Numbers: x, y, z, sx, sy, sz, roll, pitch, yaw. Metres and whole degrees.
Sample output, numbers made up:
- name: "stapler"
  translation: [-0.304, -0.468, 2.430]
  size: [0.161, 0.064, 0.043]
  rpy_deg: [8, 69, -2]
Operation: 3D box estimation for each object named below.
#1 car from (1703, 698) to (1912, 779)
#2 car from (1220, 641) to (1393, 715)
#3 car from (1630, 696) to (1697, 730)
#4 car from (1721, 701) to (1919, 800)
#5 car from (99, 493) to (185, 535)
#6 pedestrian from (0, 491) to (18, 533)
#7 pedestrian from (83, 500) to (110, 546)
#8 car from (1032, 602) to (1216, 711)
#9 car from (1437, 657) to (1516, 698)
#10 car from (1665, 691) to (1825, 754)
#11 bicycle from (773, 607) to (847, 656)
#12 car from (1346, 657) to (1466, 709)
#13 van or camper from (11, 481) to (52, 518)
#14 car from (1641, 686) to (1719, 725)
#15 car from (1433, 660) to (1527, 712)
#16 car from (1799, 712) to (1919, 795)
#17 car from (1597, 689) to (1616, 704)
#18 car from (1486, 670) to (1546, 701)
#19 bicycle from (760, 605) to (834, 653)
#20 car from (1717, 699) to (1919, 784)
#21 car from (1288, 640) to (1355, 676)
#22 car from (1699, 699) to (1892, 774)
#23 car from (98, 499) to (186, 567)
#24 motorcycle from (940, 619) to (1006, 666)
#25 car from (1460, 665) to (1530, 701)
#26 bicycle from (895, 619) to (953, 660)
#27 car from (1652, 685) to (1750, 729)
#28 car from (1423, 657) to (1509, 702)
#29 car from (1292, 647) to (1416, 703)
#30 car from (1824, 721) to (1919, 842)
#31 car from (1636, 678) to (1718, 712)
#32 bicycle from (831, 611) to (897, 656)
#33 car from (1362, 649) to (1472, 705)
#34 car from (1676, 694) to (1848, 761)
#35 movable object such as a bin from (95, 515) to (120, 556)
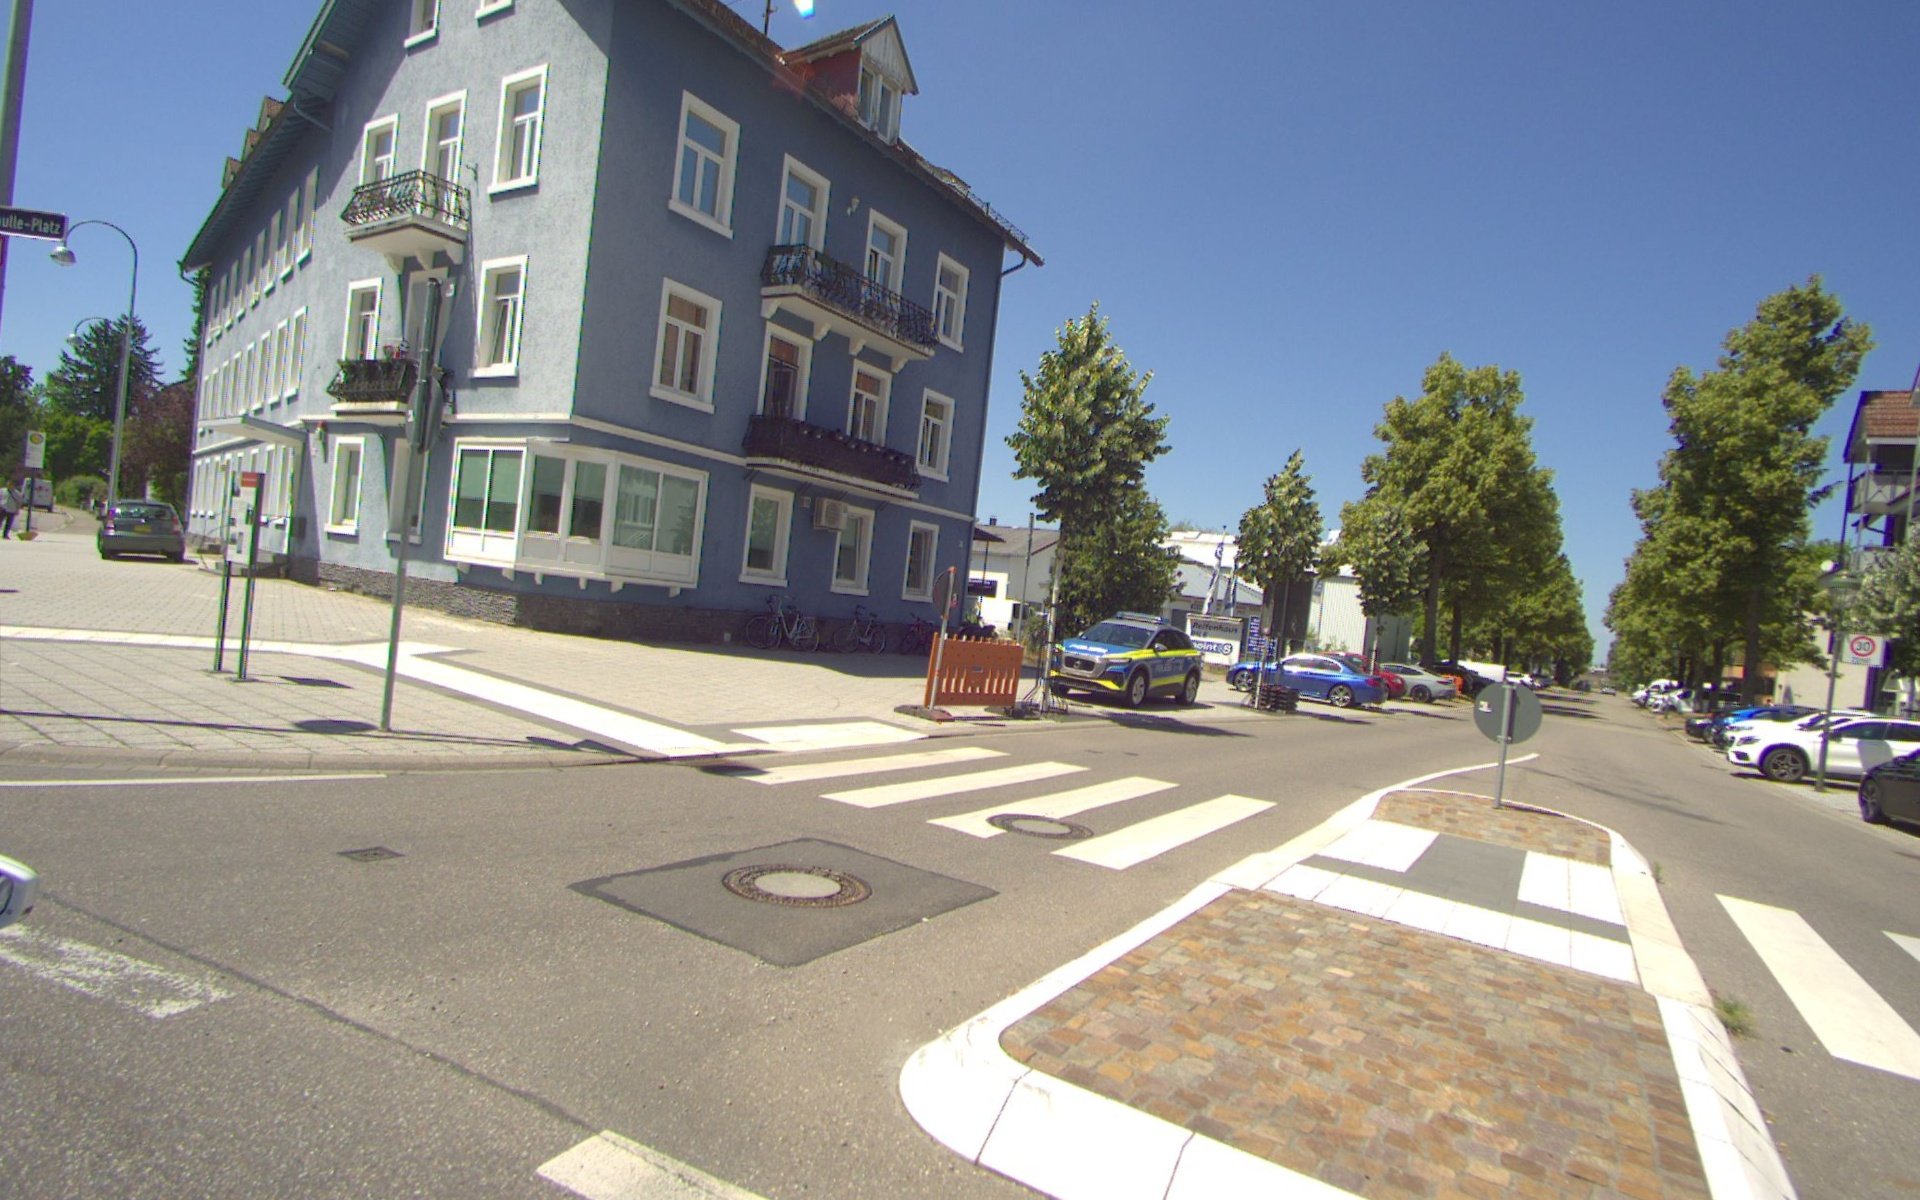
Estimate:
- name: "car"
  translation: [23.781, 3.835, 28.460]
  size: [4.229, 1.595, 1.901]
  rpy_deg: [5, -1, 35]
- name: "car"
  translation: [10.169, 2.283, 29.627]
  size: [4.395, 1.496, 1.905]
  rpy_deg: [7, -3, 31]
- name: "car"
  translation: [55.703, 8.927, 79.715]
  size: [3.931, 2.038, 1.997]
  rpy_deg: [7, 0, 29]
- name: "car"
  translation: [18.425, 3.109, 20.675]
  size: [4.229, 1.542, 1.901]
  rpy_deg: [5, -1, 35]
- name: "car"
  translation: [-53.012, -5.574, 65.216]
  size: [1.973, 2.038, 3.981]
  rpy_deg: [7, -1, 42]
- name: "pedestrian"
  translation: [-30.432, -2.805, 31.942]
  size: [0.661, 1.304, 0.581]
  rpy_deg: [2, 4, -34]
- name: "pedestrian"
  translation: [-31.386, -2.787, 36.564]
  size: [0.661, 1.616, 0.581]
  rpy_deg: [2, 4, -34]
- name: "car"
  translation: [3.438, 1.199, 20.444]
  size: [1.876, 1.764, 4.238]
  rpy_deg: [8, 0, 35]
- name: "car"
  translation: [31.330, 4.668, 61.060]
  size: [3.936, 1.885, 1.992]
  rpy_deg: [7, 2, 34]
- name: "car"
  translation: [28.002, 4.332, 36.081]
  size: [4.226, 1.661, 1.902]
  rpy_deg: [5, -1, 33]
- name: "bicycle"
  translation: [-3.253, 0.704, 21.924]
  size: [0.433, 0.918, 1.708]
  rpy_deg: [9, 1, 35]
- name: "car"
  translation: [17.610, 3.269, 39.727]
  size: [3.936, 1.464, 1.995]
  rpy_deg: [7, 0, 34]
- name: "van or camper"
  translation: [-76.313, -8.278, 82.705]
  size: [2.199, 2.642, 3.951]
  rpy_deg: [7, 0, -43]
- name: "car"
  translation: [48.854, 7.148, 68.362]
  size: [3.931, 2.038, 1.997]
  rpy_deg: [7, 0, 29]
- name: "car"
  translation: [26.370, 4.347, 51.044]
  size: [3.933, 2.037, 1.997]
  rpy_deg: [6, -2, 31]
- name: "car"
  translation: [20.790, 3.408, 21.409]
  size: [4.229, 1.453, 1.901]
  rpy_deg: [5, -1, 35]
- name: "car"
  translation: [96.182, 14.341, 149.693]
  size: [1.967, 2.038, 3.992]
  rpy_deg: [7, 0, 31]
- name: "car"
  translation: [45.474, 6.967, 82.282]
  size: [3.936, 1.885, 1.992]
  rpy_deg: [7, 2, 34]
- name: "bicycle"
  translation: [-3.583, 0.653, 22.238]
  size: [0.433, 0.918, 1.708]
  rpy_deg: [9, 1, 35]
- name: "car"
  translation: [22.528, 3.628, 26.233]
  size: [4.229, 1.595, 1.901]
  rpy_deg: [5, -1, 35]
- name: "car"
  translation: [25.877, 4.159, 72.075]
  size: [3.937, 1.882, 1.995]
  rpy_deg: [8, -1, 36]
- name: "car"
  translation: [25.290, 4.085, 30.674]
  size: [4.229, 1.595, 1.901]
  rpy_deg: [5, -1, 35]
- name: "car"
  translation: [-21.279, -1.759, 26.126]
  size: [1.631, 1.528, 3.522]
  rpy_deg: [2, 3, -41]
- name: "motorcycle"
  translation: [0.363, 1.127, 26.292]
  size: [0.578, 1.065, 1.899]
  rpy_deg: [9, 1, 37]
- name: "car"
  translation: [36.125, 5.565, 67.930]
  size: [3.934, 1.883, 1.996]
  rpy_deg: [6, 0, 32]
- name: "bicycle"
  translation: [-0.918, 1.048, 26.127]
  size: [0.473, 0.918, 1.708]
  rpy_deg: [9, 1, 35]
- name: "car"
  translation: [47.147, 6.776, 64.157]
  size: [4.664, 2.038, 1.996]
  rpy_deg: [6, 0, 32]
- name: "car"
  translation: [28.278, 4.443, 56.254]
  size: [3.936, 1.882, 1.996]
  rpy_deg: [7, -1, 34]
- name: "car"
  translation: [14.980, 2.850, 38.324]
  size: [3.936, 1.548, 1.995]
  rpy_deg: [7, 0, 34]
- name: "car"
  translation: [13.818, 2.583, 13.448]
  size: [1.870, 1.453, 4.173]
  rpy_deg: [5, -1, 18]
- name: "car"
  translation: [59.840, 7.916, 84.093]
  size: [5.187, 2.038, 2.232]
  rpy_deg: [6, 0, 32]
- name: "bicycle"
  translation: [-2.290, 0.811, 24.083]
  size: [0.473, 0.918, 1.708]
  rpy_deg: [9, 1, 35]
- name: "car"
  translation: [20.303, 3.411, 44.736]
  size: [3.939, 1.805, 1.993]
  rpy_deg: [8, 1, 38]
- name: "car"
  translation: [26.567, 4.200, 33.549]
  size: [4.229, 1.595, 1.901]
  rpy_deg: [5, -1, 35]
- name: "movable object such as a bin"
  translation: [-24.671, -1.866, 29.118]
  size: [0.280, 1.138, 1.176]
  rpy_deg: [4, 1, -30]
